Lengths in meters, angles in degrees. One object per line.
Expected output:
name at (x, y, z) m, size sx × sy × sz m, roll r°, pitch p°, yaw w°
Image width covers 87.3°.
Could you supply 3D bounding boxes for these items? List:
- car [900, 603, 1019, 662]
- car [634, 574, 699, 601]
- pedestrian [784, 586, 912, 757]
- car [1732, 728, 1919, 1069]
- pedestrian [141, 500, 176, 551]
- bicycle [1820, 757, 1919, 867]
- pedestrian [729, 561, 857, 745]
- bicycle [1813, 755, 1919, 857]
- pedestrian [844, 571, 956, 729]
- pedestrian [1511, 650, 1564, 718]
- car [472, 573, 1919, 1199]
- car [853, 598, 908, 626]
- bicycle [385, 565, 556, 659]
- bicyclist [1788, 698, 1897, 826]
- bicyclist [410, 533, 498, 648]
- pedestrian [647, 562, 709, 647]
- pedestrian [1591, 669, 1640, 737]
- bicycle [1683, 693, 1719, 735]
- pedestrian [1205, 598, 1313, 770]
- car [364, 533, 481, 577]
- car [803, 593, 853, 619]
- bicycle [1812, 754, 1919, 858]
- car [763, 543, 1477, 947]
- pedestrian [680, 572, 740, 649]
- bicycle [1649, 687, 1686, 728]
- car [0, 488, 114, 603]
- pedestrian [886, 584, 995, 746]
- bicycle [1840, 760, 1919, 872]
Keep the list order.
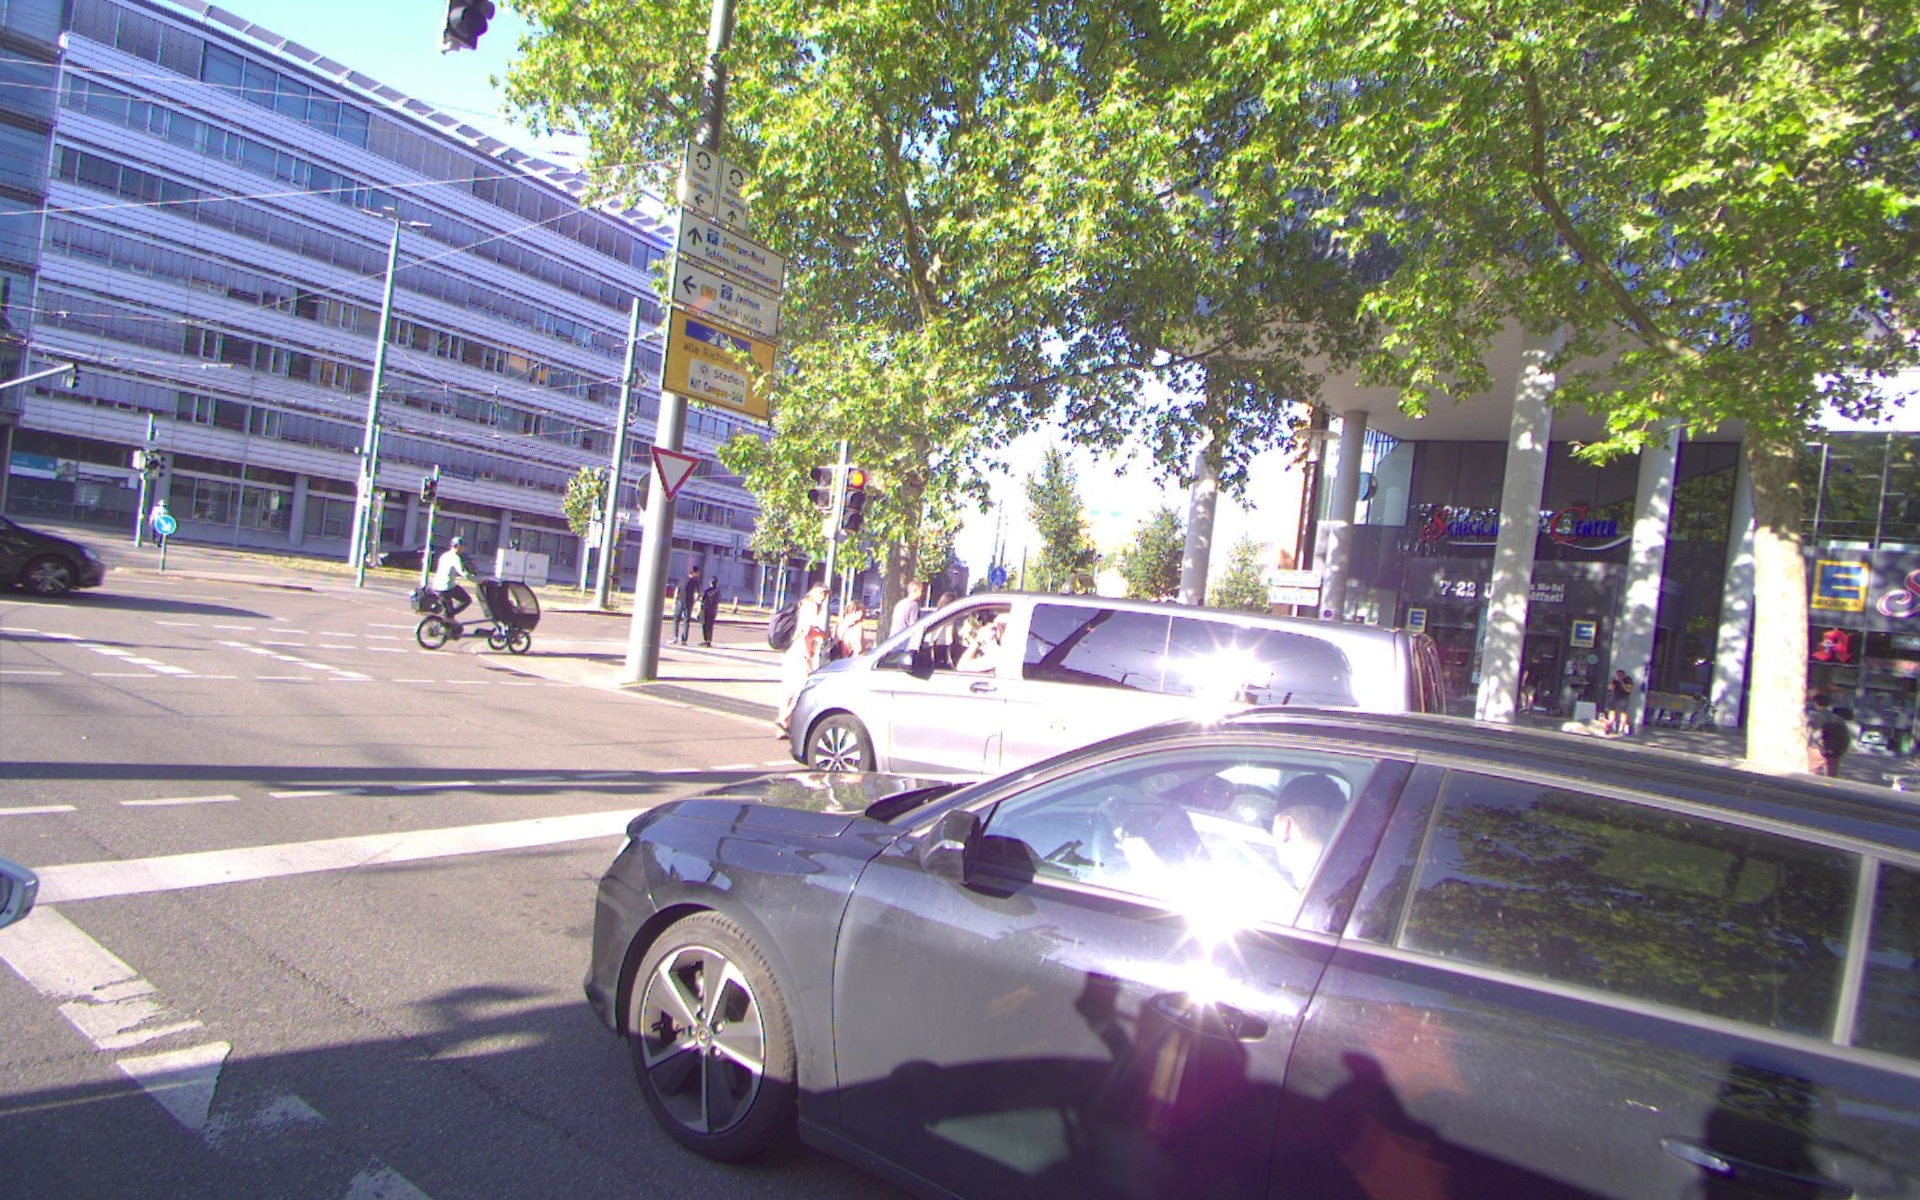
car at (0.079, 1.289, 38.657) m, size 1.969 × 1.748 × 4.836 m, roll 7°, pitch -1°, yaw 36°
car at (-20.049, -0.834, 68.818) m, size 1.731 × 1.415 × 3.990 m, roll 7°, pitch 0°, yaw 33°
pedestrian at (-1.199, 0.779, 10.989) m, size 0.744 × 1.701 × 1.076 m, roll 7°, pitch -1°, yaw 25°
car at (6.423, 1.711, 4.707) m, size 4.147 × 1.482 × 1.767 m, roll 7°, pitch 0°, yaw 32°
pedestrian at (-28.708, -2.675, 36.029) m, size 0.549 × 1.701 × 0.719 m, roll 7°, pitch -1°, yaw 39°
bicycle at (10.617, 2.407, 11.107) m, size 1.545 × 1.038 × 0.461 m, roll 7°, pitch 1°, yaw 29°
pedestrian at (-1.855, 0.600, 11.302) m, size 0.725 × 1.893 × 1.076 m, roll 7°, pitch -1°, yaw 25°
bicycle at (11.509, 2.560, 12.470) m, size 0.393 × 1.038 × 1.305 m, roll 6°, pitch 1°, yaw -42°
pedestrian at (-0.775, 0.671, 13.343) m, size 0.818 × 1.916 × 1.149 m, roll 7°, pitch -1°, yaw 25°
pedestrian at (17.340, 2.516, 30.200) m, size 0.990 × 1.867 × 0.844 m, roll 6°, pitch 1°, yaw -33°
car at (0.871, 0.938, 2.729) m, size 4.274 × 1.441 × 1.826 m, roll 7°, pitch -2°, yaw 32°
car at (-5.922, 0.935, 75.187) m, size 1.966 × 1.682 × 3.992 m, roll 7°, pitch 0°, yaw 31°
bicycle at (-7.925, 0.220, 16.382) m, size 1.057 × 1.241 × 2.156 m, roll 8°, pitch 0°, yaw 39°
bicyclist at (13.746, 2.502, 15.692) m, size 0.738 × 1.790 × 0.852 m, roll 7°, pitch 1°, yaw 2°
bicyclist at (-8.090, -0.141, 16.100) m, size 0.681 × 1.702 × 0.903 m, roll 7°, pitch 1°, yaw 39°
pedestrian at (-6.564, 0.104, 23.413) m, size 0.856 × 1.841 × 0.844 m, roll 7°, pitch -1°, yaw 42°
pedestrian at (17.483, 2.728, 26.858) m, size 0.851 × 1.662 × 0.967 m, roll 7°, pitch 1°, yaw 28°
bicycle at (22.529, 3.469, 30.571) m, size 0.709 × 1.142 × 1.912 m, roll 7°, pitch 0°, yaw 39°
pedestrian at (3.432, 0.945, 11.508) m, size 0.795 × 1.808 × 0.873 m, roll 7°, pitch 1°, yaw 31°
car at (-24.301, -2.001, 45.611) m, size 1.768 × 1.409 × 4.241 m, roll 7°, pitch 0°, yaw 36°
car at (-10.627, 0.493, 81.221) m, size 1.731 × 1.631 × 3.990 m, roll 7°, pitch 0°, yaw 33°
bicycle at (11.172, 2.487, 12.085) m, size 0.393 × 1.038 × 1.305 m, roll 6°, pitch 1°, yaw -42°
car at (1.100, 0.863, 7.998) m, size 5.053 × 1.988 × 1.997 m, roll 7°, pitch -2°, yaw 32°
pedestrian at (-5.983, 0.260, 24.085) m, size 0.855 × 1.701 × 0.845 m, roll 7°, pitch -1°, yaw 39°
bicycle at (21.852, 3.322, 31.077) m, size 0.709 × 1.142 × 1.912 m, roll 7°, pitch 0°, yaw 39°
car at (-15.099, -0.995, 14.157) m, size 1.966 × 1.536 × 4.393 m, roll 8°, pitch 0°, yaw 29°
pedestrian at (-0.225, 0.798, 12.392) m, size 0.744 × 1.827 × 1.075 m, roll 7°, pitch -1°, yaw 25°
bicycle at (10.370, 2.354, 10.562) m, size 1.545 × 1.038 × 0.461 m, roll 7°, pitch 1°, yaw 29°
